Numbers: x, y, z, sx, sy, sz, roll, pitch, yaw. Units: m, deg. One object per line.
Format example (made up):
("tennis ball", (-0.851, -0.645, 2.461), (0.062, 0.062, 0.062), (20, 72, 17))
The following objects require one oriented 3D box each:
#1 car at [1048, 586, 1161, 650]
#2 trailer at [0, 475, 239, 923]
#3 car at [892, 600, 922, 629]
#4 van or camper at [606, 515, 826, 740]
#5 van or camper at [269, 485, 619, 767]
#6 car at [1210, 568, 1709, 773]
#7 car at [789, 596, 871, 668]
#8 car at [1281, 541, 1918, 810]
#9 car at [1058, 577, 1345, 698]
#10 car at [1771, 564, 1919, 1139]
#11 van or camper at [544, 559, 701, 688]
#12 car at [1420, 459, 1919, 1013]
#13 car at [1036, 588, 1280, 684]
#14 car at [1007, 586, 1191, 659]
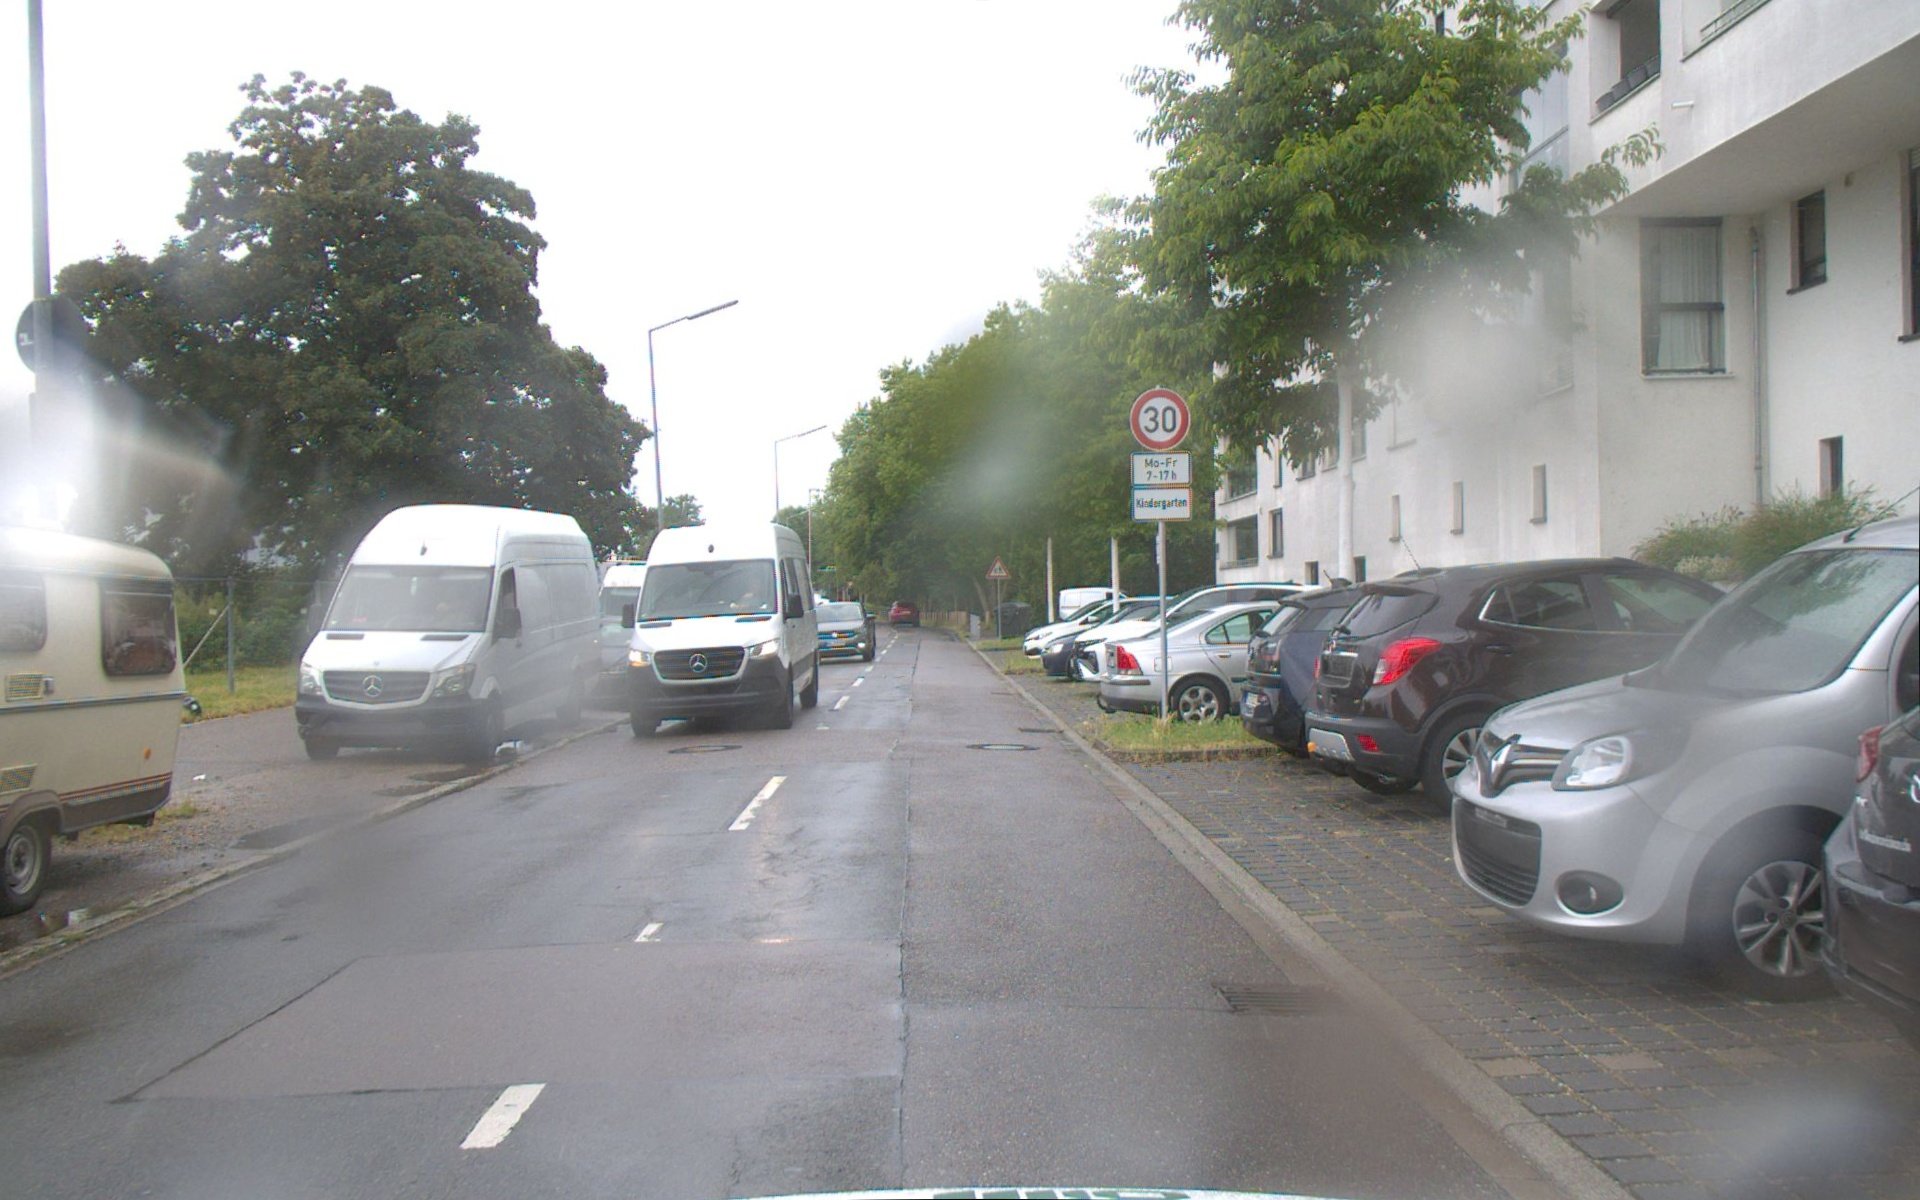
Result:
("car", (5.407, 0.649, 61.953), (3.904, 2.333, 1.777), (0, 0, 19))
("trailer", (-5.847, 0.487, 8.434), (2.018, 2.256, 5.791), (1, 0, -3))
("car", (-3.362, 0.923, 105.665), (1.720, 1.735, 4.000), (-1, 0, 1))
("van or camper", (-3.102, 0.319, 22.635), (1.953, 2.541, 7.177), (-2, 0, -1))
("van or camper", (-6.008, 0.278, 20.599), (1.953, 2.810, 7.896), (1, 0, -1))
("car", (4.326, 0.575, 14.662), (3.808, 1.628, 1.861), (-1, 0, -7))
("car", (-3.404, 0.806, 43.898), (1.843, 1.788, 4.067), (-1, 0, 0))
("car", (4.409, 0.474, 11.748), (3.808, 1.711, 1.861), (0, 0, -7))
("car", (3.831, 0.582, 26.759), (4.299, 1.807, 2.004), (-1, 0, -2))
("car", (4.104, 0.642, 4.476), (3.189, 1.508, 1.317), (-1, 0, -3))
("van or camper", (-7.132, 0.479, 35.710), (2.145, 2.505, 6.375), (1, 0, -1))
("car", (4.150, 0.436, 6.761), (4.010, 1.927, 1.726), (-2, 0, 0))
("car", (3.648, 0.651, 31.044), (4.299, 1.662, 2.004), (-1, 0, -2))
("car", (3.251, 0.515, 39.061), (4.015, 1.602, 1.864), (-1, 0, -8))
